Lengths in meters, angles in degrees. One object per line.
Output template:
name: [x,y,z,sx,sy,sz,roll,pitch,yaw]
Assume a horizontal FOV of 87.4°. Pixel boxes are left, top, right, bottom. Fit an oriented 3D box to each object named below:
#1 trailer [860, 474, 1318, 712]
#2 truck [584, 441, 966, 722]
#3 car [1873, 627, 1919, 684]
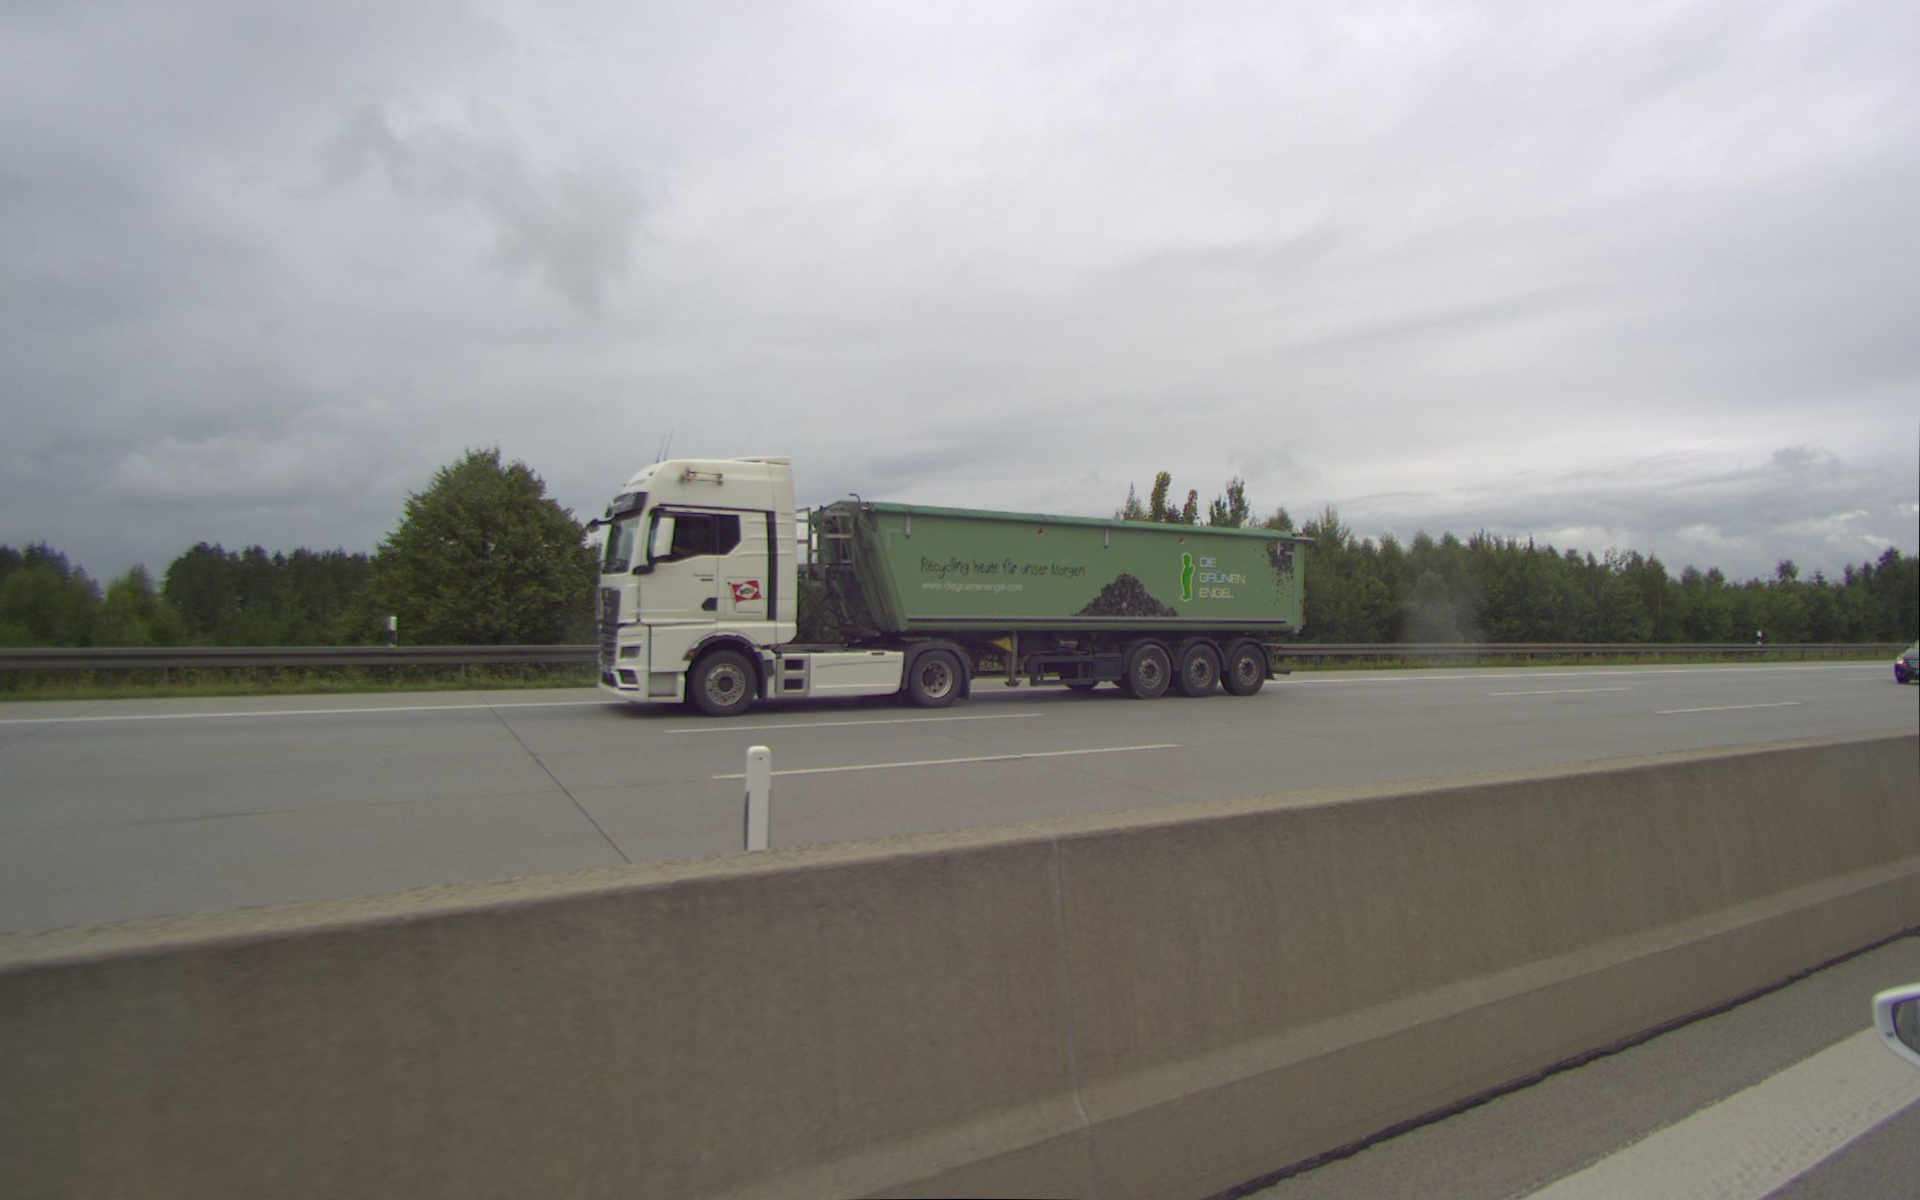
trailer: [2.812,-0.026,19.784,9.208,3.850,2.736,1,0,-31]
truck: [-2.972,-0.181,16.358,5.466,3.852,2.737,2,0,-30]
car: [29.779,1.653,30.294,4.715,1.611,1.984,1,0,-30]
